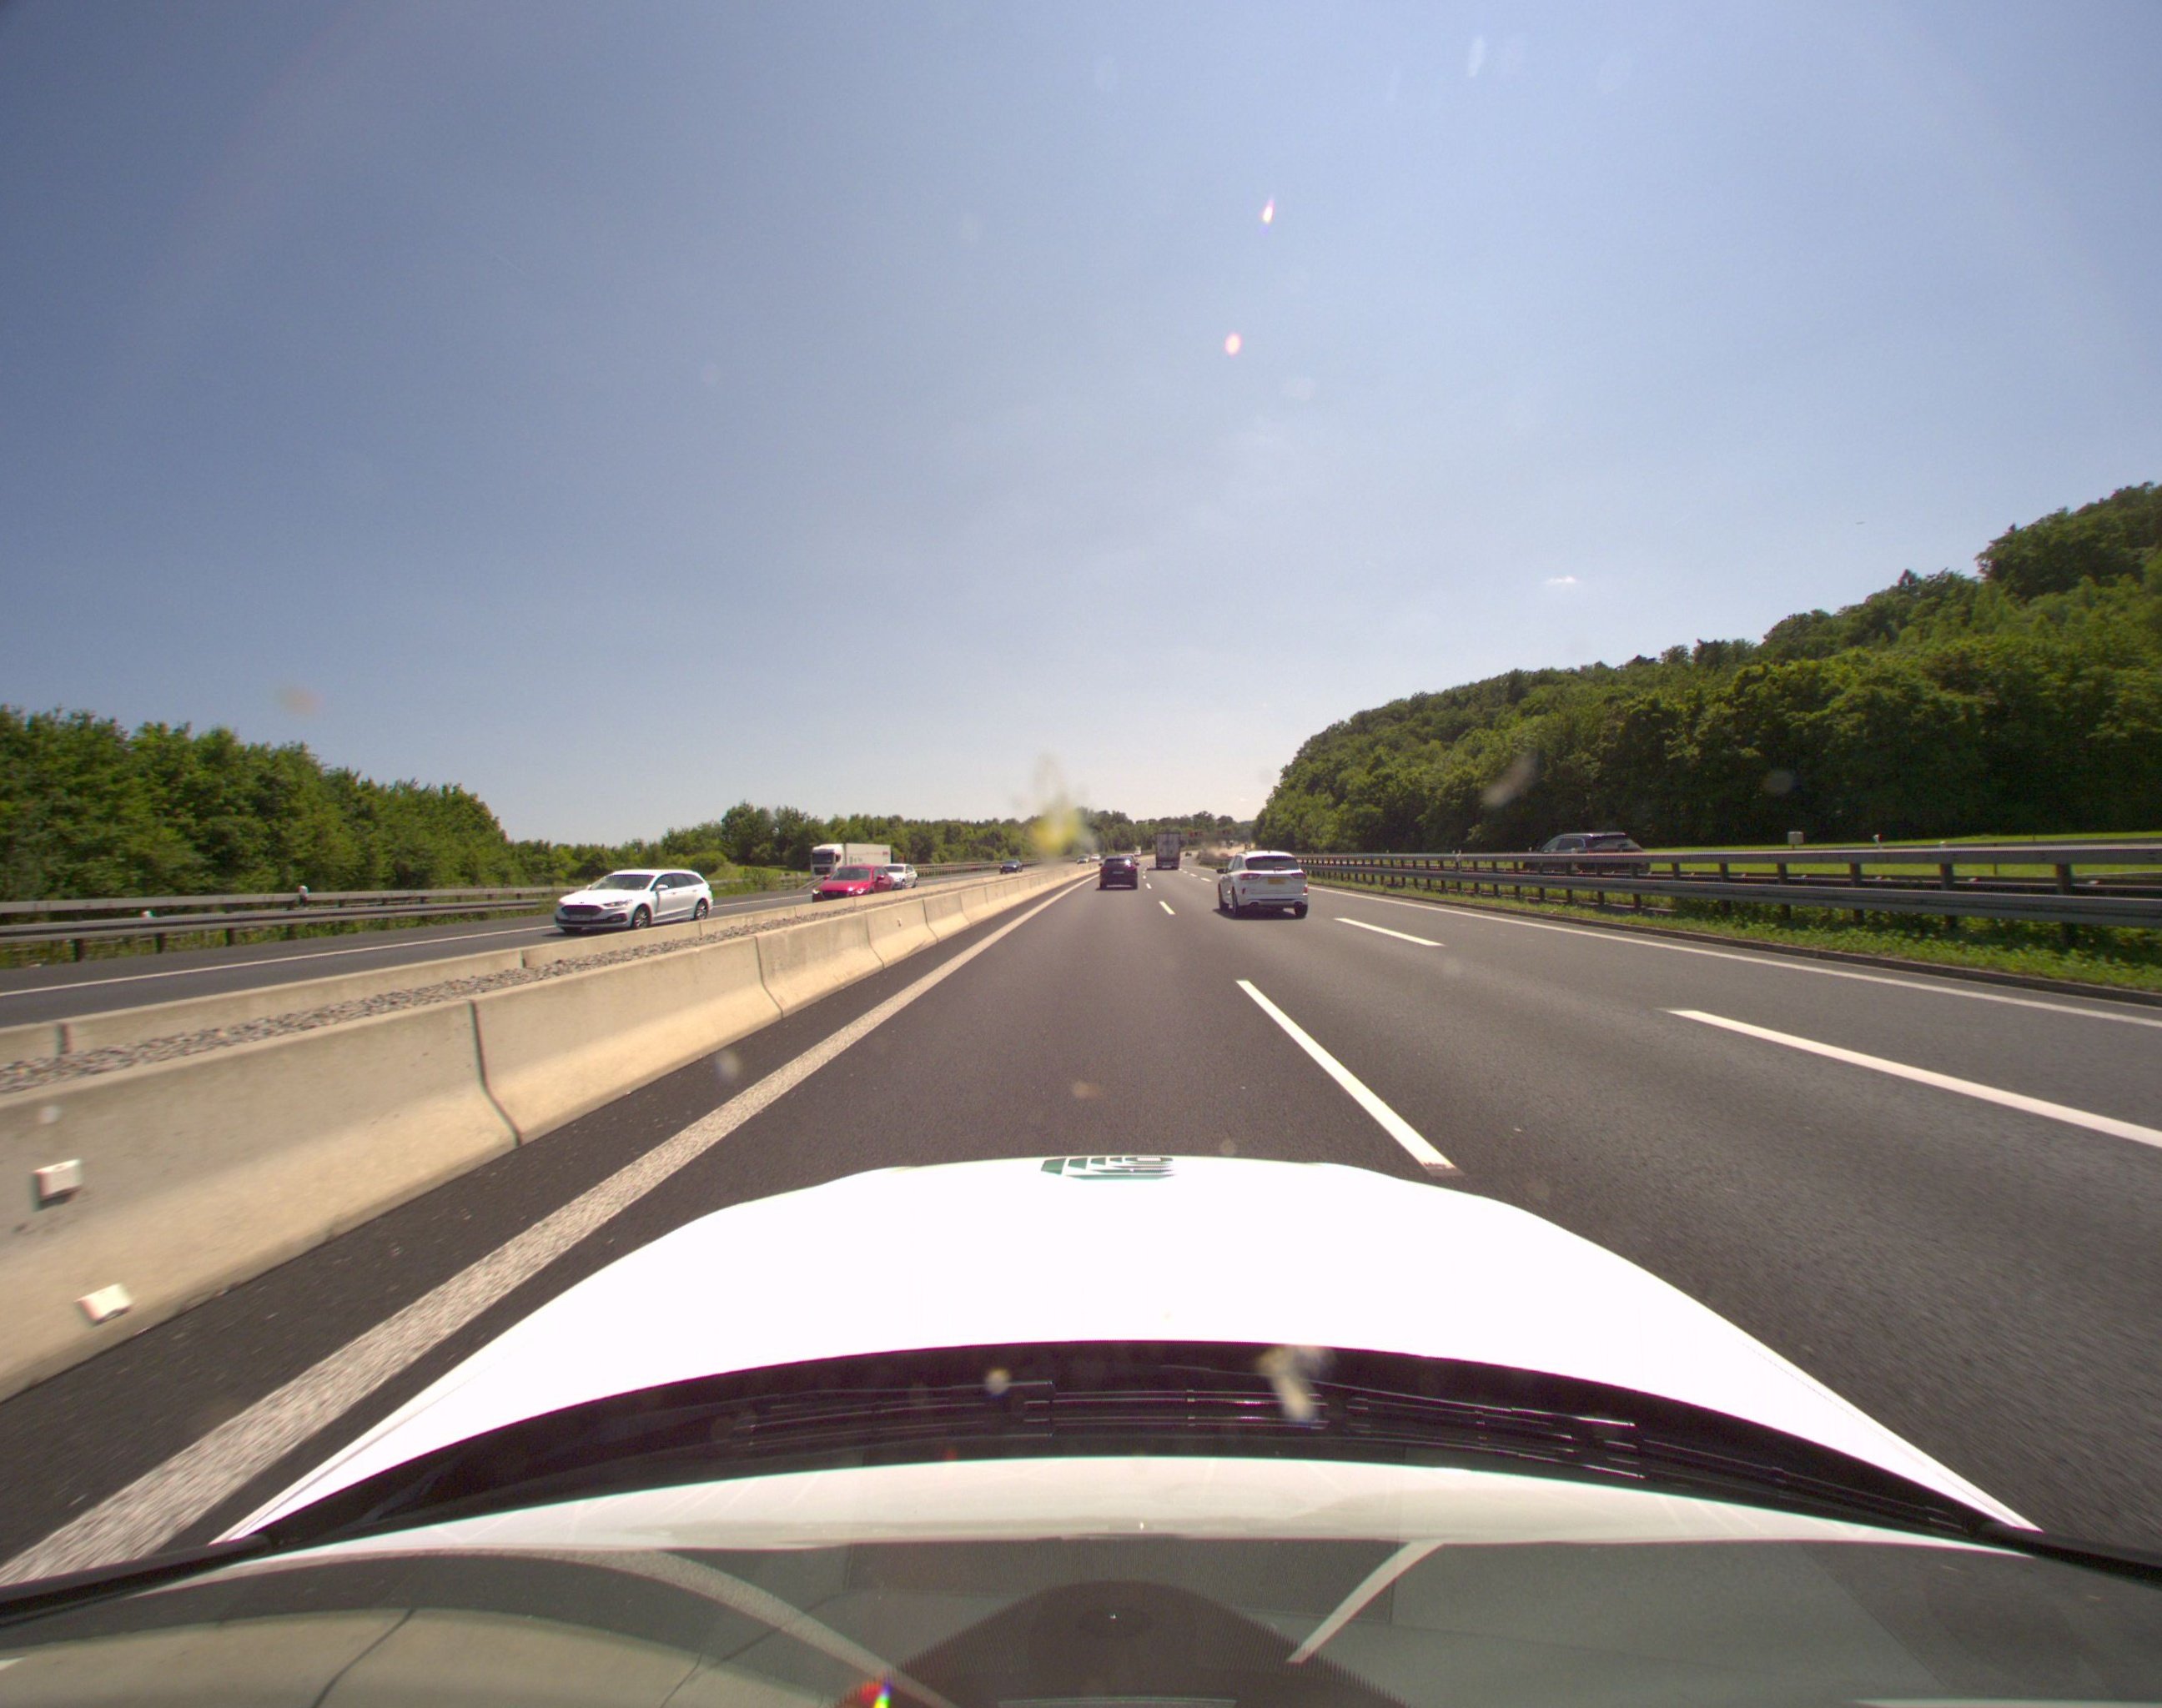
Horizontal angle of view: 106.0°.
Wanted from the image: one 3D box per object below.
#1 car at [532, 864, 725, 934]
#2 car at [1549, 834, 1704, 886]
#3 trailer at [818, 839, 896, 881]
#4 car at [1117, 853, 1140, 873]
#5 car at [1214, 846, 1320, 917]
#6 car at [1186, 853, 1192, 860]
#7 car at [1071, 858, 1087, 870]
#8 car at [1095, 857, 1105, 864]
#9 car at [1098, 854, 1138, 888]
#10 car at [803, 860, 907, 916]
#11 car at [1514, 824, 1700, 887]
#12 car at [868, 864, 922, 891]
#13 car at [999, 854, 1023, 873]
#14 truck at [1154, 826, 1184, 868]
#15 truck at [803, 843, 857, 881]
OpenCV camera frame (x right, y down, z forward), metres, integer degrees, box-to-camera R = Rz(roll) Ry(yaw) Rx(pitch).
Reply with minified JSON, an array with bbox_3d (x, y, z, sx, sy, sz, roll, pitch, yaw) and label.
[{"bbox_3d":[-11.345,1.047,20.940,1.986,1.543,5.044,-1,-1,2],"label":"car"},{"bbox_3d":[19.275,0.241,29.141,1.987,1.662,5.226,-1,-1,0],"label":"car"},{"bbox_3d":[-23.516,0.665,86.555,3.093,3.997,14.104,-1,-1,5],"label":"trailer"},{"bbox_3d":[5.181,0.975,88.301,1.982,2.013,4.010,-4,0,8],"label":"car"},{"bbox_3d":[4.818,0.697,21.739,1.985,1.662,4.470,-1,-1,3],"label":"car"},{"bbox_3d":[33.561,0.722,253.086,1.982,2.014,4.009,-1,-1,8],"label":"car"},{"bbox_3d":[-0.247,1.529,128.886,2.026,1.858,5.381,-1,-1,4],"label":"car"},{"bbox_3d":[4.065,1.383,176.205,1.779,1.632,4.937,-1,0,5],"label":"car"},{"bbox_3d":[1.763,0.816,39.708,1.773,1.577,4.000,-1,-1,1],"label":"car"},{"bbox_3d":[-7.379,1.054,27.099,1.986,1.659,4.636,-1,-1,2],"label":"car"},{"bbox_3d":[15.872,0.081,25.062,1.988,1.662,5.623,-1,-1,-1],"label":"car"},{"bbox_3d":[-10.229,1.268,45.095,1.842,1.395,4.003,0,0,3],"label":"car"},{"bbox_3d":[-7.356,1.008,85.857,1.986,1.824,4.905,-1,-1,1],"label":"car"},{"bbox_3d":[9.884,-0.655,92.046,3.017,4.418,12.035,-1,-1,5],"label":"truck"},{"bbox_3d":[-24.244,0.803,78.819,3.068,3.504,5.417,-1,-1,5],"label":"truck"}]
